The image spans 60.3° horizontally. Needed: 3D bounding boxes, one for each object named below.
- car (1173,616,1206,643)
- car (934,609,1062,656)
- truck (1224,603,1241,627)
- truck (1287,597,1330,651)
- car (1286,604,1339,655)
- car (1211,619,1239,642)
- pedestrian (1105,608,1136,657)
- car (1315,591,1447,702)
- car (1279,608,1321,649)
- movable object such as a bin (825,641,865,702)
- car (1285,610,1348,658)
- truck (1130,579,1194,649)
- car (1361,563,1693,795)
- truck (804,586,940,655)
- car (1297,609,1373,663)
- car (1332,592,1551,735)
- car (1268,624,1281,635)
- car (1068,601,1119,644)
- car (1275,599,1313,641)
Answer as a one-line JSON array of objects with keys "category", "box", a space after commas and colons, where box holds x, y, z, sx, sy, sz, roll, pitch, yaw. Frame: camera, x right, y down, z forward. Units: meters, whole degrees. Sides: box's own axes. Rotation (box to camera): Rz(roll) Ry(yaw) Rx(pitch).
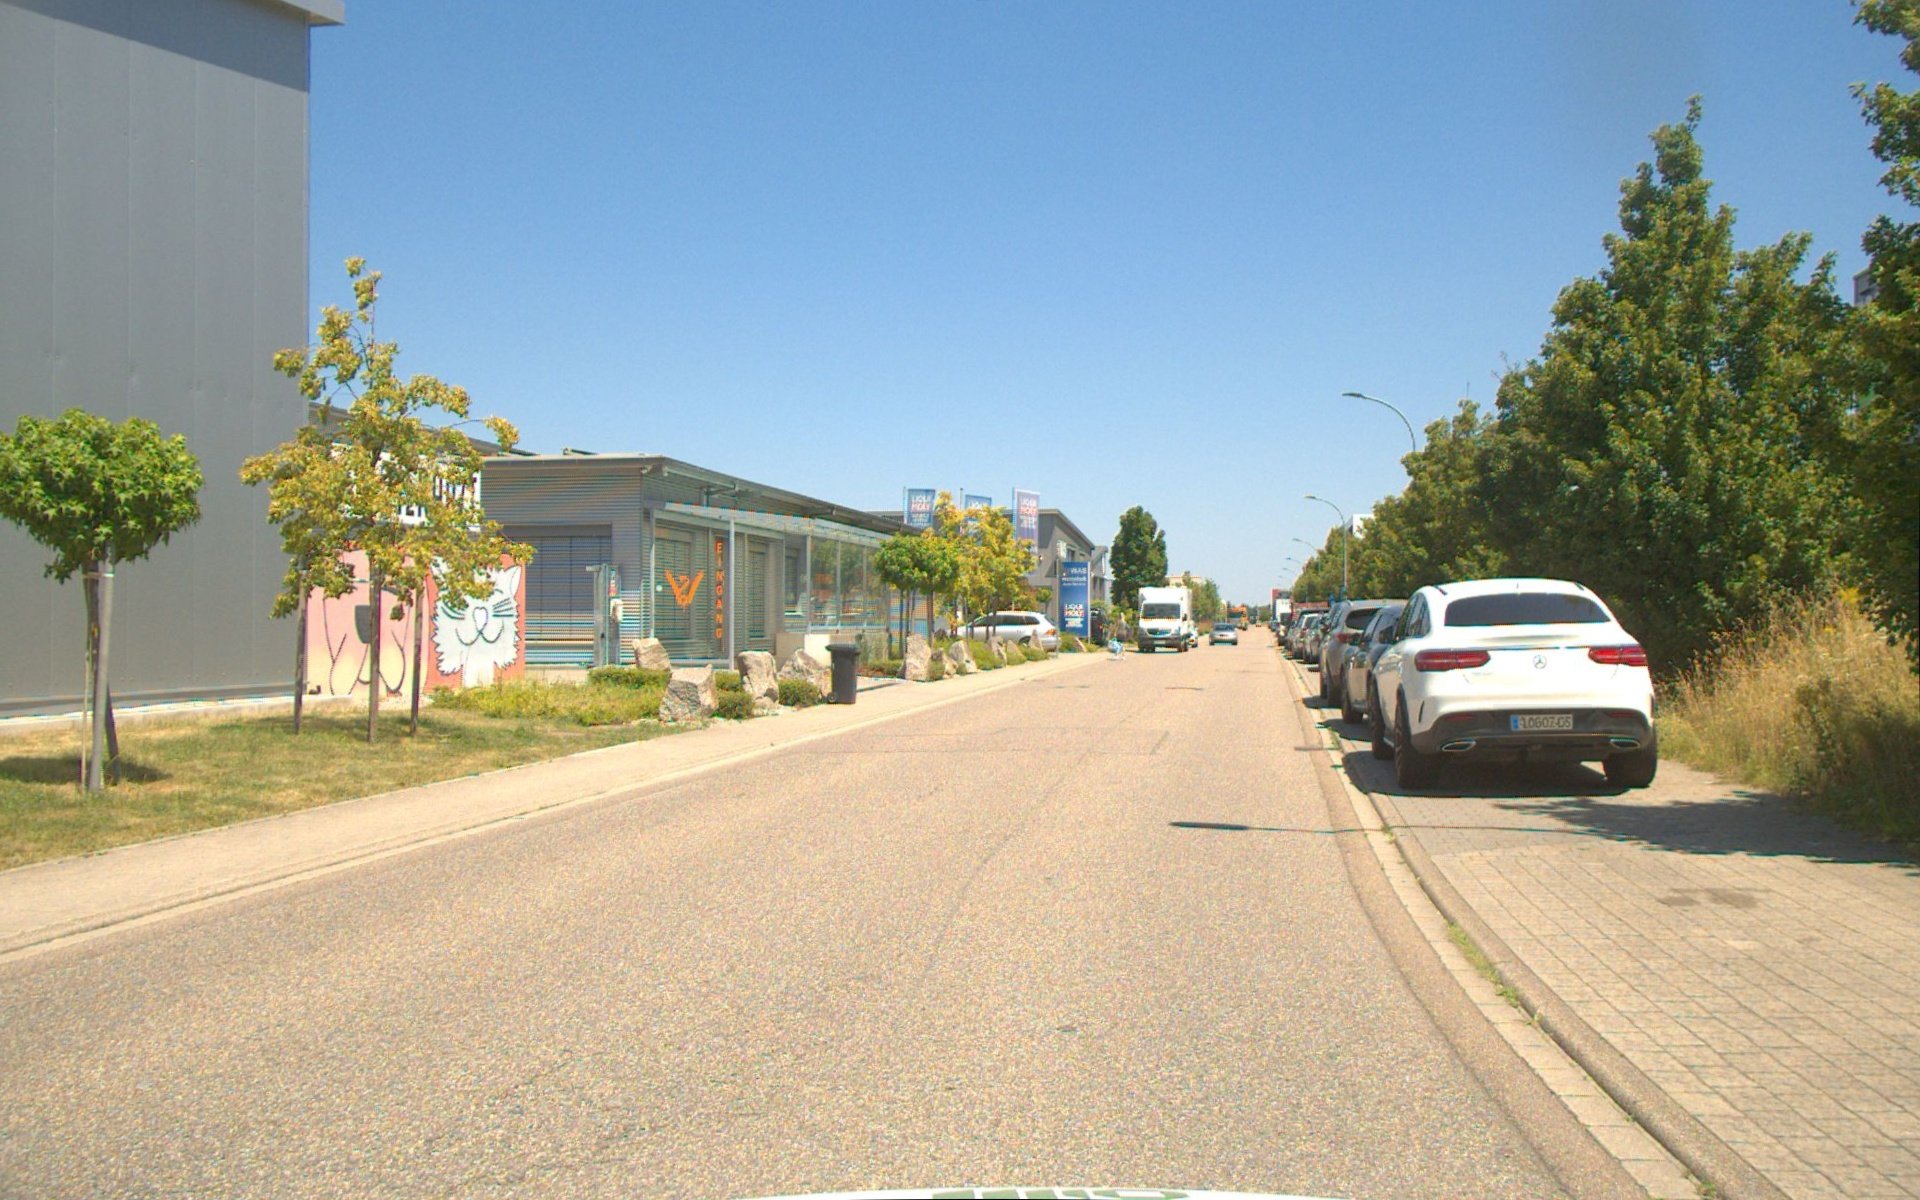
[{"category": "car", "box": [13.189, 1.723, 94.925, 1.693, 1.484, 4.495, 1, -1, 10]}, {"category": "car", "box": [1.335, 1.122, 57.204, 4.171, 1.545, 1.867, 0, -1, 9]}, {"category": "truck", "box": [42.042, 2.307, 255.003, 2.396, 3.575, 8.279, -1, -1, 10]}, {"category": "truck", "box": [15.277, 1.070, 72.709, 1.643, 2.220, 4.393, -2, -2, 10]}, {"category": "car", "box": [13.074, 1.081, 61.549, 1.772, 1.756, 4.777, -2, -1, 11]}, {"category": "car", "box": [17.612, 2.022, 109.859, 1.745, 1.447, 4.417, -2, -2, 10]}, {"category": "pedestrian", "box": [5.413, 1.076, 55.733, 0.880, 1.602, 0.786, 2, -1, 11]}, {"category": "car", "box": [6.910, 0.738, 27.537, 1.766, 1.664, 4.461, -2, -1, 10]}, {"category": "car", "box": [17.042, 1.441, 82.970, 1.951, 1.918, 5.159, -1, -1, 11]}, {"category": "movable object such as a bin", "box": [-1.846, 1.145, 26.585, 0.558, 0.966, 0.512, 1, -1, 5]}, {"category": "car", "box": [12.041, 1.139, 56.078, 1.677, 1.509, 4.777, -2, -1, 7]}, {"category": "truck", "box": [9.060, 0.684, 73.674, 2.311, 2.910, 6.420, -2, -2, 11]}, {"category": "car", "box": [4.890, 0.644, 15.009, 2.098, 1.728, 4.789, -2, -1, 10]}, {"category": "truck", "box": [-4.963, 1.101, 92.001, 7.914, 3.619, 2.573, 1, -1, 40]}, {"category": "car", "box": [11.337, 1.071, 50.255, 1.766, 1.509, 4.777, -2, -1, 7]}, {"category": "car", "box": [5.881, 0.742, 20.759, 1.863, 1.556, 4.633, -1, -1, 7]}, {"category": "car", "box": [41.058, 3.862, 215.855, 1.551, 1.434, 3.503, 0, -1, 10]}, {"category": "car", "box": [6.497, 1.093, 80.084, 1.951, 1.991, 5.222, 1, -1, 10]}, {"category": "car", "box": [21.027, 1.305, 103.886, 2.219, 2.541, 6.156, -1, -1, 12]}]
